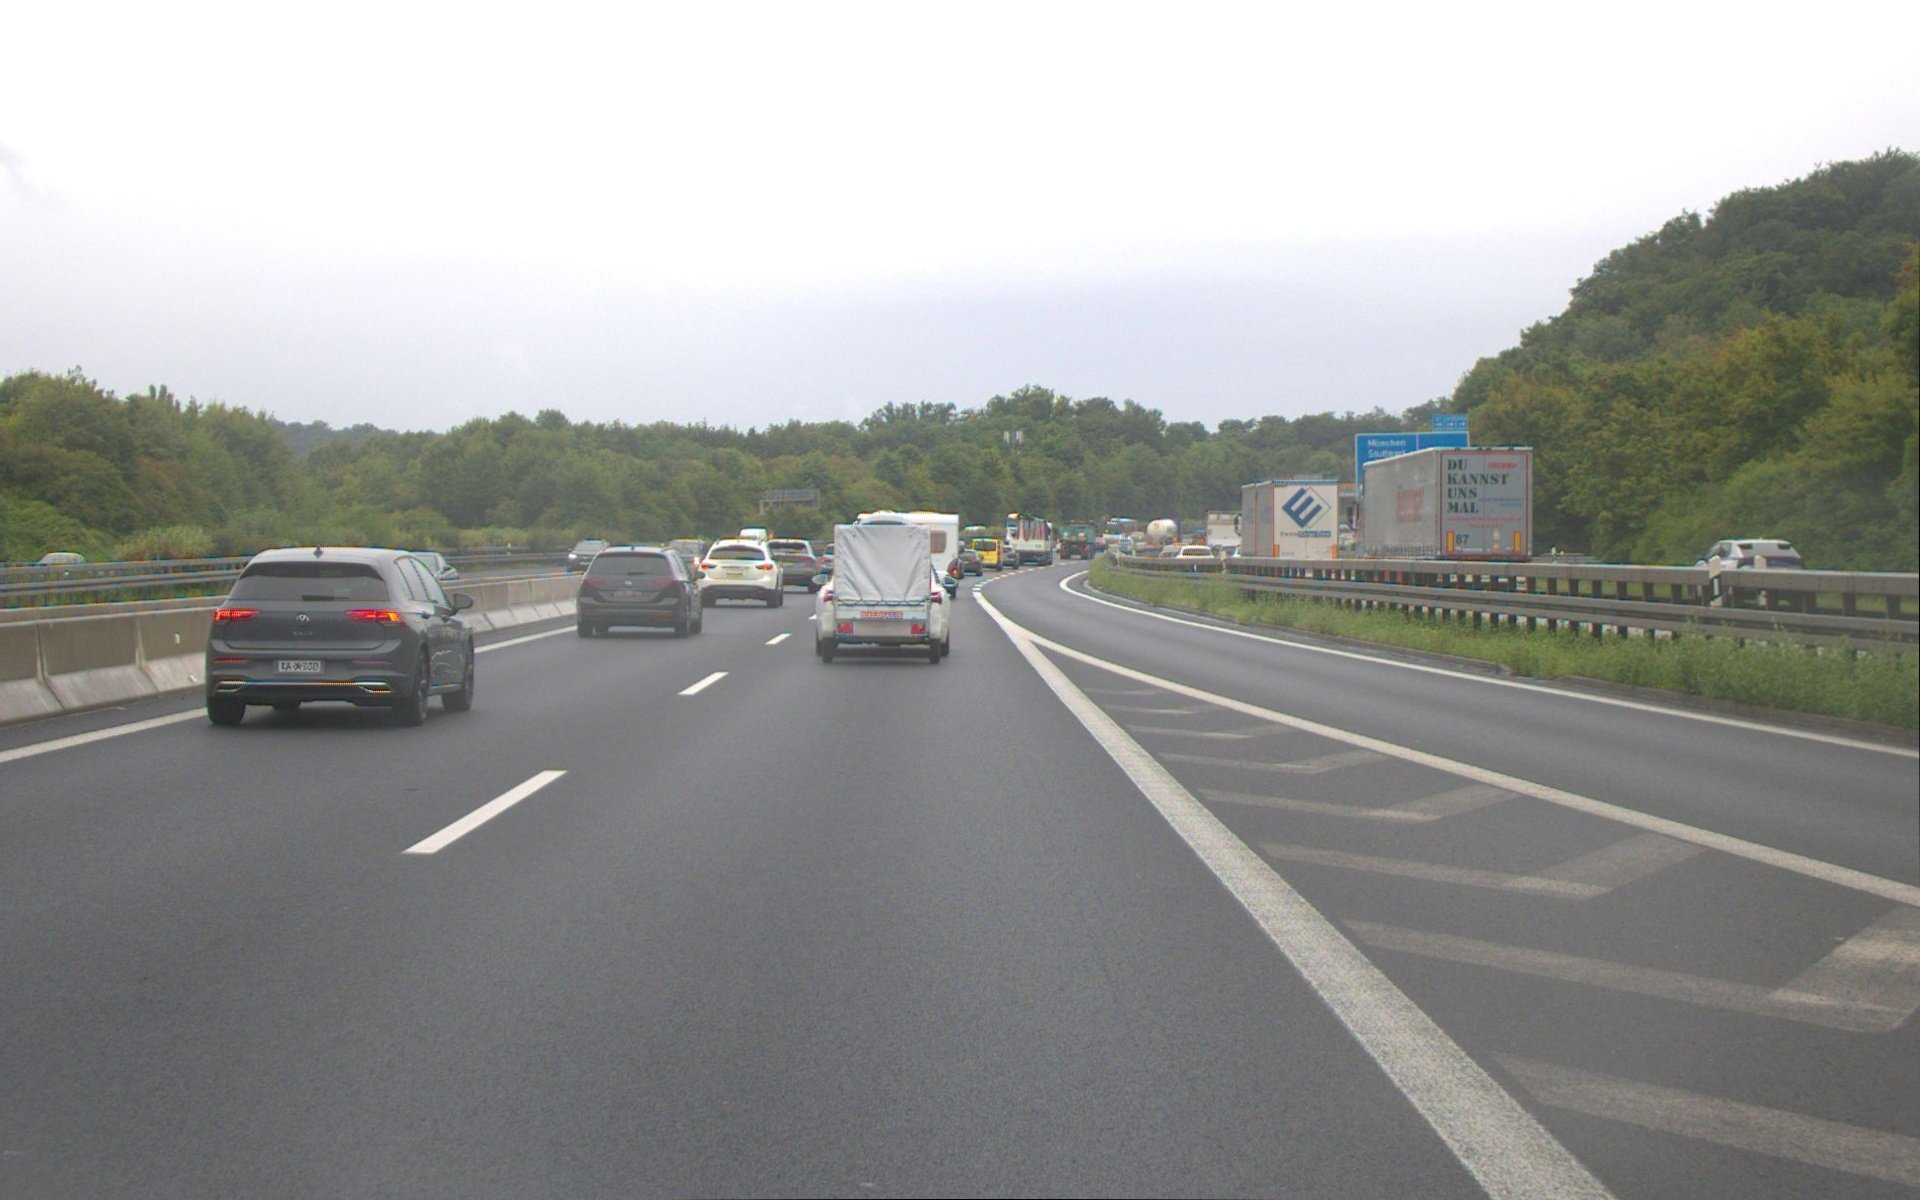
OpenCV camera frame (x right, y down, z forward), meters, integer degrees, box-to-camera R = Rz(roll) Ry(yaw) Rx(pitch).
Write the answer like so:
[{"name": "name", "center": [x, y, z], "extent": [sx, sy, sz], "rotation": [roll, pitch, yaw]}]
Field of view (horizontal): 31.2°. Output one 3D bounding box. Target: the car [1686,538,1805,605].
[{"name": "car", "center": [17.908, -0.659, 78.529], "extent": [1.675, 1.451, 4.000], "rotation": [1, 1, -2]}]

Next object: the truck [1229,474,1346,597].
[{"name": "truck", "center": [12.986, -2.537, 137.395], "extent": [3.215, 4.650, 13.033], "rotation": [1, 1, -1]}]

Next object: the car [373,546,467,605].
[{"name": "car", "center": [-13.973, -0.641, 89.197], "extent": [1.756, 1.451, 4.418], "rotation": [1, 1, -1]}]

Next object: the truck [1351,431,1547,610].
[{"name": "truck", "center": [13.529, -2.148, 96.376], "extent": [3.215, 4.650, 13.034], "rotation": [1, 1, -2]}]

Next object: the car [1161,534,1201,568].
[{"name": "car", "center": [9.770, -2.167, 152.322], "extent": [1.676, 1.451, 4.000], "rotation": [1, 1, 3]}]

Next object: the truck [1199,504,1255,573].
[{"name": "truck", "center": [18.510, -4.218, 238.353], "extent": [3.663, 4.650, 13.030], "rotation": [1, 1, 4]}]

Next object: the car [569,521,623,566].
[{"name": "car", "center": [-16.717, -2.598, 158.009], "extent": [1.993, 2.007, 4.983], "rotation": [1, 1, -1]}]

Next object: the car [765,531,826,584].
[{"name": "car", "center": [-5.270, -1.350, 110.220], "extent": [1.775, 1.634, 4.043], "rotation": [1, 1, -1]}]

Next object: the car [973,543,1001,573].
[{"name": "car", "center": [1.685, -2.621, 213.489], "extent": [1.676, 1.806, 4.000], "rotation": [1, 1, 2]}]

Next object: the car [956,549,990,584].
[{"name": "car", "center": [0.699, -1.812, 185.574], "extent": [1.676, 1.806, 4.000], "rotation": [1, 1, 2]}]

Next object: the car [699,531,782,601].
[{"name": "car", "center": [-5.327, -0.836, 83.701], "extent": [1.775, 1.634, 4.043], "rotation": [1, 1, -1]}]

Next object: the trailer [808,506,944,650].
[{"name": "trailer", "center": [-1.078, -0.304, 45.628], "extent": [1.676, 1.806, 4.000], "rotation": [1, 1, 0]}]

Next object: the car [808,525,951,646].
[{"name": "car", "center": [-1.101, -0.222, 49.113], "extent": [1.818, 1.610, 4.778], "rotation": [1, 1, 1]}]

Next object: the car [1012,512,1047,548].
[{"name": "car", "center": [5.091, -5.077, 251.010], "extent": [2.516, 2.566, 5.312], "rotation": [1, 1, 2]}]

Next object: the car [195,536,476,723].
[{"name": "car", "center": [-5.218, 0.208, 29.164], "extent": [1.675, 1.451, 4.000], "rotation": [1, 1, -1]}]

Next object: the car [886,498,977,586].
[{"name": "car", "center": [-0.835, -1.745, 105.041], "extent": [2.507, 2.576, 5.699], "rotation": [1, 1, 2]}]

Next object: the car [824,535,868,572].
[{"name": "car", "center": [-5.188, -2.120, 156.683], "extent": [1.775, 1.634, 4.043], "rotation": [1, 1, 1]}]

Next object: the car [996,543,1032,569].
[{"name": "car", "center": [3.567, -2.881, 226.748], "extent": [2.038, 1.677, 3.999], "rotation": [1, 1, 6]}]

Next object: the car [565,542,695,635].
[{"name": "car", "center": [-5.377, -0.207, 56.356], "extent": [1.765, 1.451, 4.000], "rotation": [1, 1, -1]}]
